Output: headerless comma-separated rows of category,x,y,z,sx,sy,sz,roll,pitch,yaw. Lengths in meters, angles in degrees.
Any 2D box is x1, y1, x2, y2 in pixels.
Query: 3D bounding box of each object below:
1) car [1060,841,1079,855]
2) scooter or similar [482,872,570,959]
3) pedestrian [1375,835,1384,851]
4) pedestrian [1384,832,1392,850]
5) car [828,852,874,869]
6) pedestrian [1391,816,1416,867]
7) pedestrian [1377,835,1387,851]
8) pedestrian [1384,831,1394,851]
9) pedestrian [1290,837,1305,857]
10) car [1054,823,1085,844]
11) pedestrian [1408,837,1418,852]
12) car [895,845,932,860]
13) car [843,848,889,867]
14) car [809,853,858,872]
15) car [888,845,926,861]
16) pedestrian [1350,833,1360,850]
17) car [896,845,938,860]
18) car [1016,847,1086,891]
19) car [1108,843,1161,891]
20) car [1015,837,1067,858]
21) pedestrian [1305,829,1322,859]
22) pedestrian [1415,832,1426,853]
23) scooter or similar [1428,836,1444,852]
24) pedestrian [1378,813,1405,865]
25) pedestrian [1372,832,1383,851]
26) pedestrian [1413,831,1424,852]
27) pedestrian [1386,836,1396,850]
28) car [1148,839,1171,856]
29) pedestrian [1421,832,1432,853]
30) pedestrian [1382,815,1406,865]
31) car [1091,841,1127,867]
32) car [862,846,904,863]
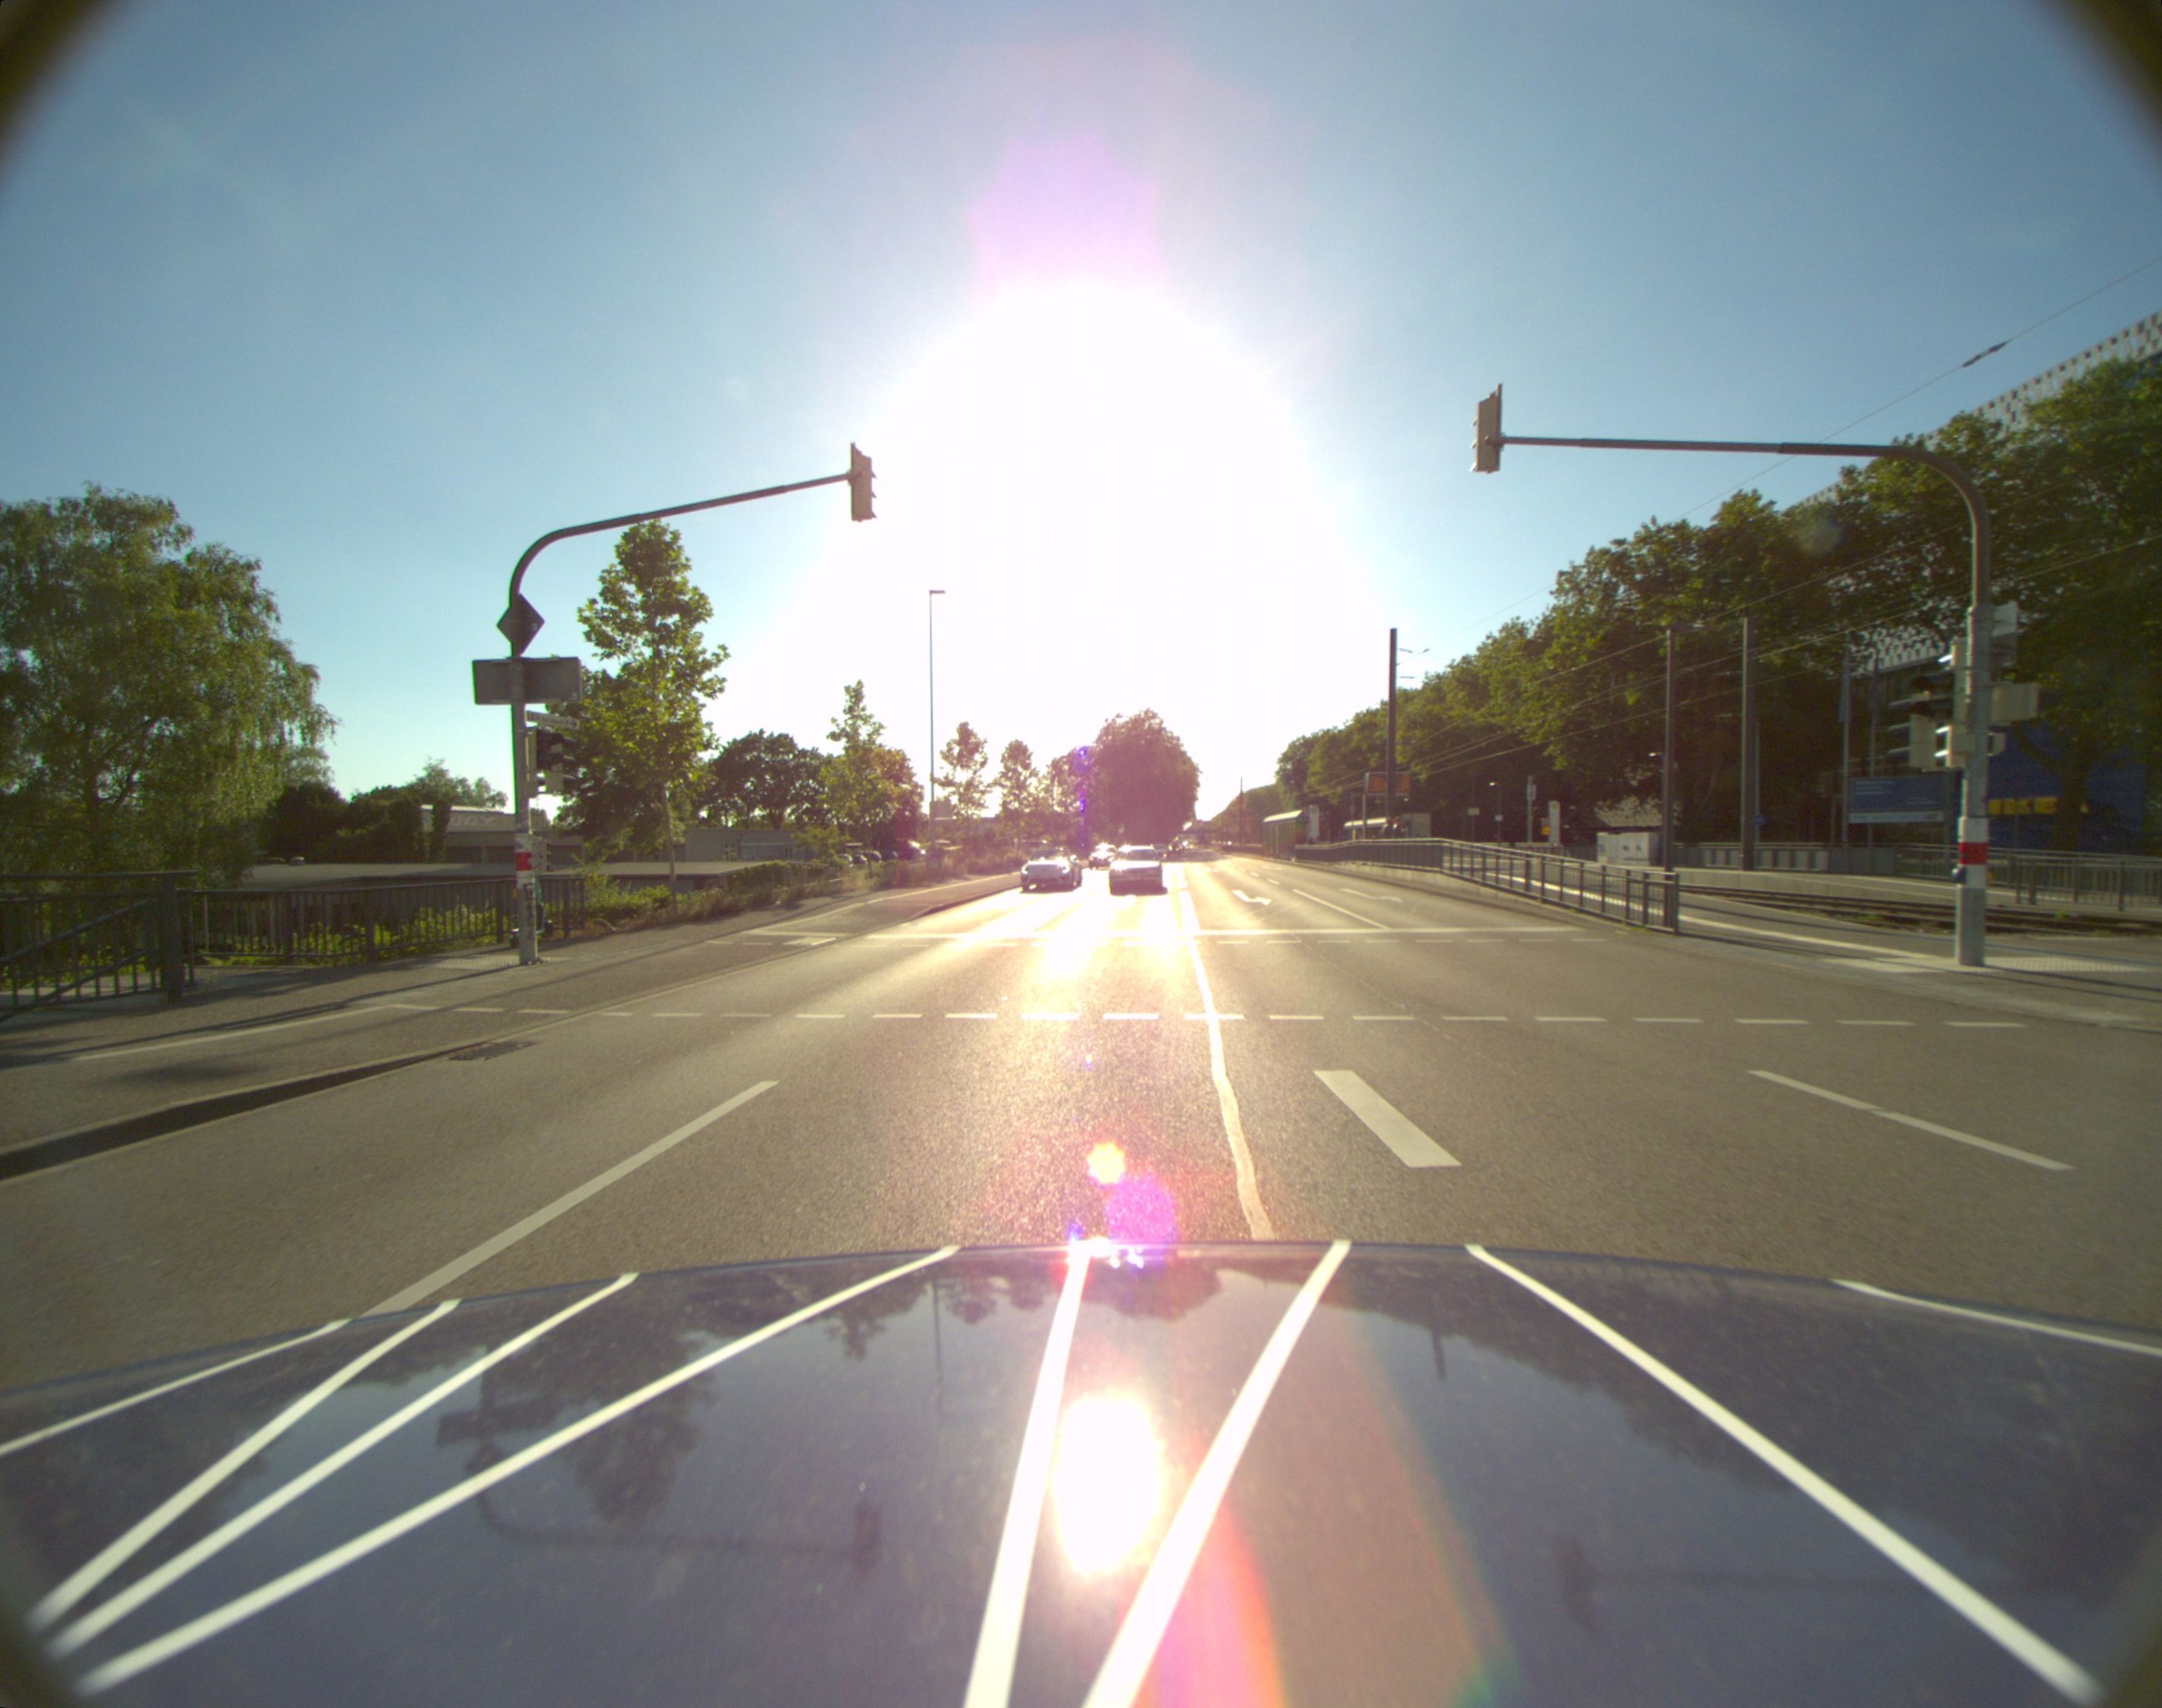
car,-1.452,-0.741,94.783,1.998,1.638,4.157,-1,1,4
scooter or similar,-8.648,0.932,11.897,0.525,1.224,1.265,0,2,-6
pedestrian,28.004,-1.033,71.375,0.615,1.460,0.544,-1,1,-1
pedestrian,27.466,-1.184,68.044,0.576,1.627,0.644,0,1,16
car,-21.868,0.616,72.281,3.791,1.389,1.739,-2,4,3
pedestrian,10.641,-0.411,25.083,0.534,1.648,0.751,-2,2,9
pedestrian,27.990,-1.037,70.742,0.671,1.483,0.577,-1,1,-6
pedestrian,26.800,-1.151,66.093,0.654,1.732,0.686,-3,1,10
pedestrian,13.696,-0.474,48.078,0.681,1.225,0.879,-3,1,7
car,-1.502,-2.710,101.144,2.938,2.607,5.926,-1,1,11
pedestrian,27.145,-0.760,62.213,0.603,1.217,0.617,-2,1,11
car,-19.948,-0.205,90.407,3.836,1.577,1.723,-3,1,6
car,-21.302,0.360,75.256,3.917,1.657,1.706,-3,2,4
car,-22.442,0.751,68.872,3.791,1.548,1.727,-2,4,3
car,-20.160,-0.139,88.210,3.872,1.631,1.665,-3,1,6
pedestrian,27.860,-1.303,77.211,0.763,1.700,0.678,-3,2,8
car,-20.181,-0.171,93.497,4.659,1.560,1.859,-3,1,4
car,-1.006,0.502,27.691,1.855,1.415,3.982,-1,1,7
car,1.841,0.383,25.418,1.602,1.440,3.800,-2,1,6
car,-4.396,-0.745,83.628,5.348,2.010,2.104,-3,1,5
pedestrian,13.445,-0.572,44.001,0.695,1.706,0.822,-2,1,3
pedestrian,27.142,-0.923,60.806,0.652,1.611,0.635,-2,1,11
scooter or similar,26.726,-0.744,57.268,0.665,1.228,1.373,-1,1,6
pedestrian,10.908,-0.521,26.707,0.708,1.765,0.536,-3,2,11
pedestrian,26.203,-1.132,67.173,0.661,1.623,0.777,-2,1,8
pedestrian,27.236,-0.994,61.298,0.652,1.709,0.635,-2,1,11
pedestrian,27.457,-0.965,67.304,0.654,1.245,0.685,-3,1,4
car,7.131,-0.610,68.826,1.870,1.422,3.833,-3,1,8
pedestrian,27.048,-0.903,59.487,0.603,1.611,0.691,-2,1,11
pedestrian,10.720,-0.477,26.021,0.534,1.683,0.760,-3,2,9
car,1.819,-0.016,47.938,1.739,1.502,4.002,-2,1,9
car,-21.567,0.039,82.839,4.029,1.577,1.685,-3,1,4
